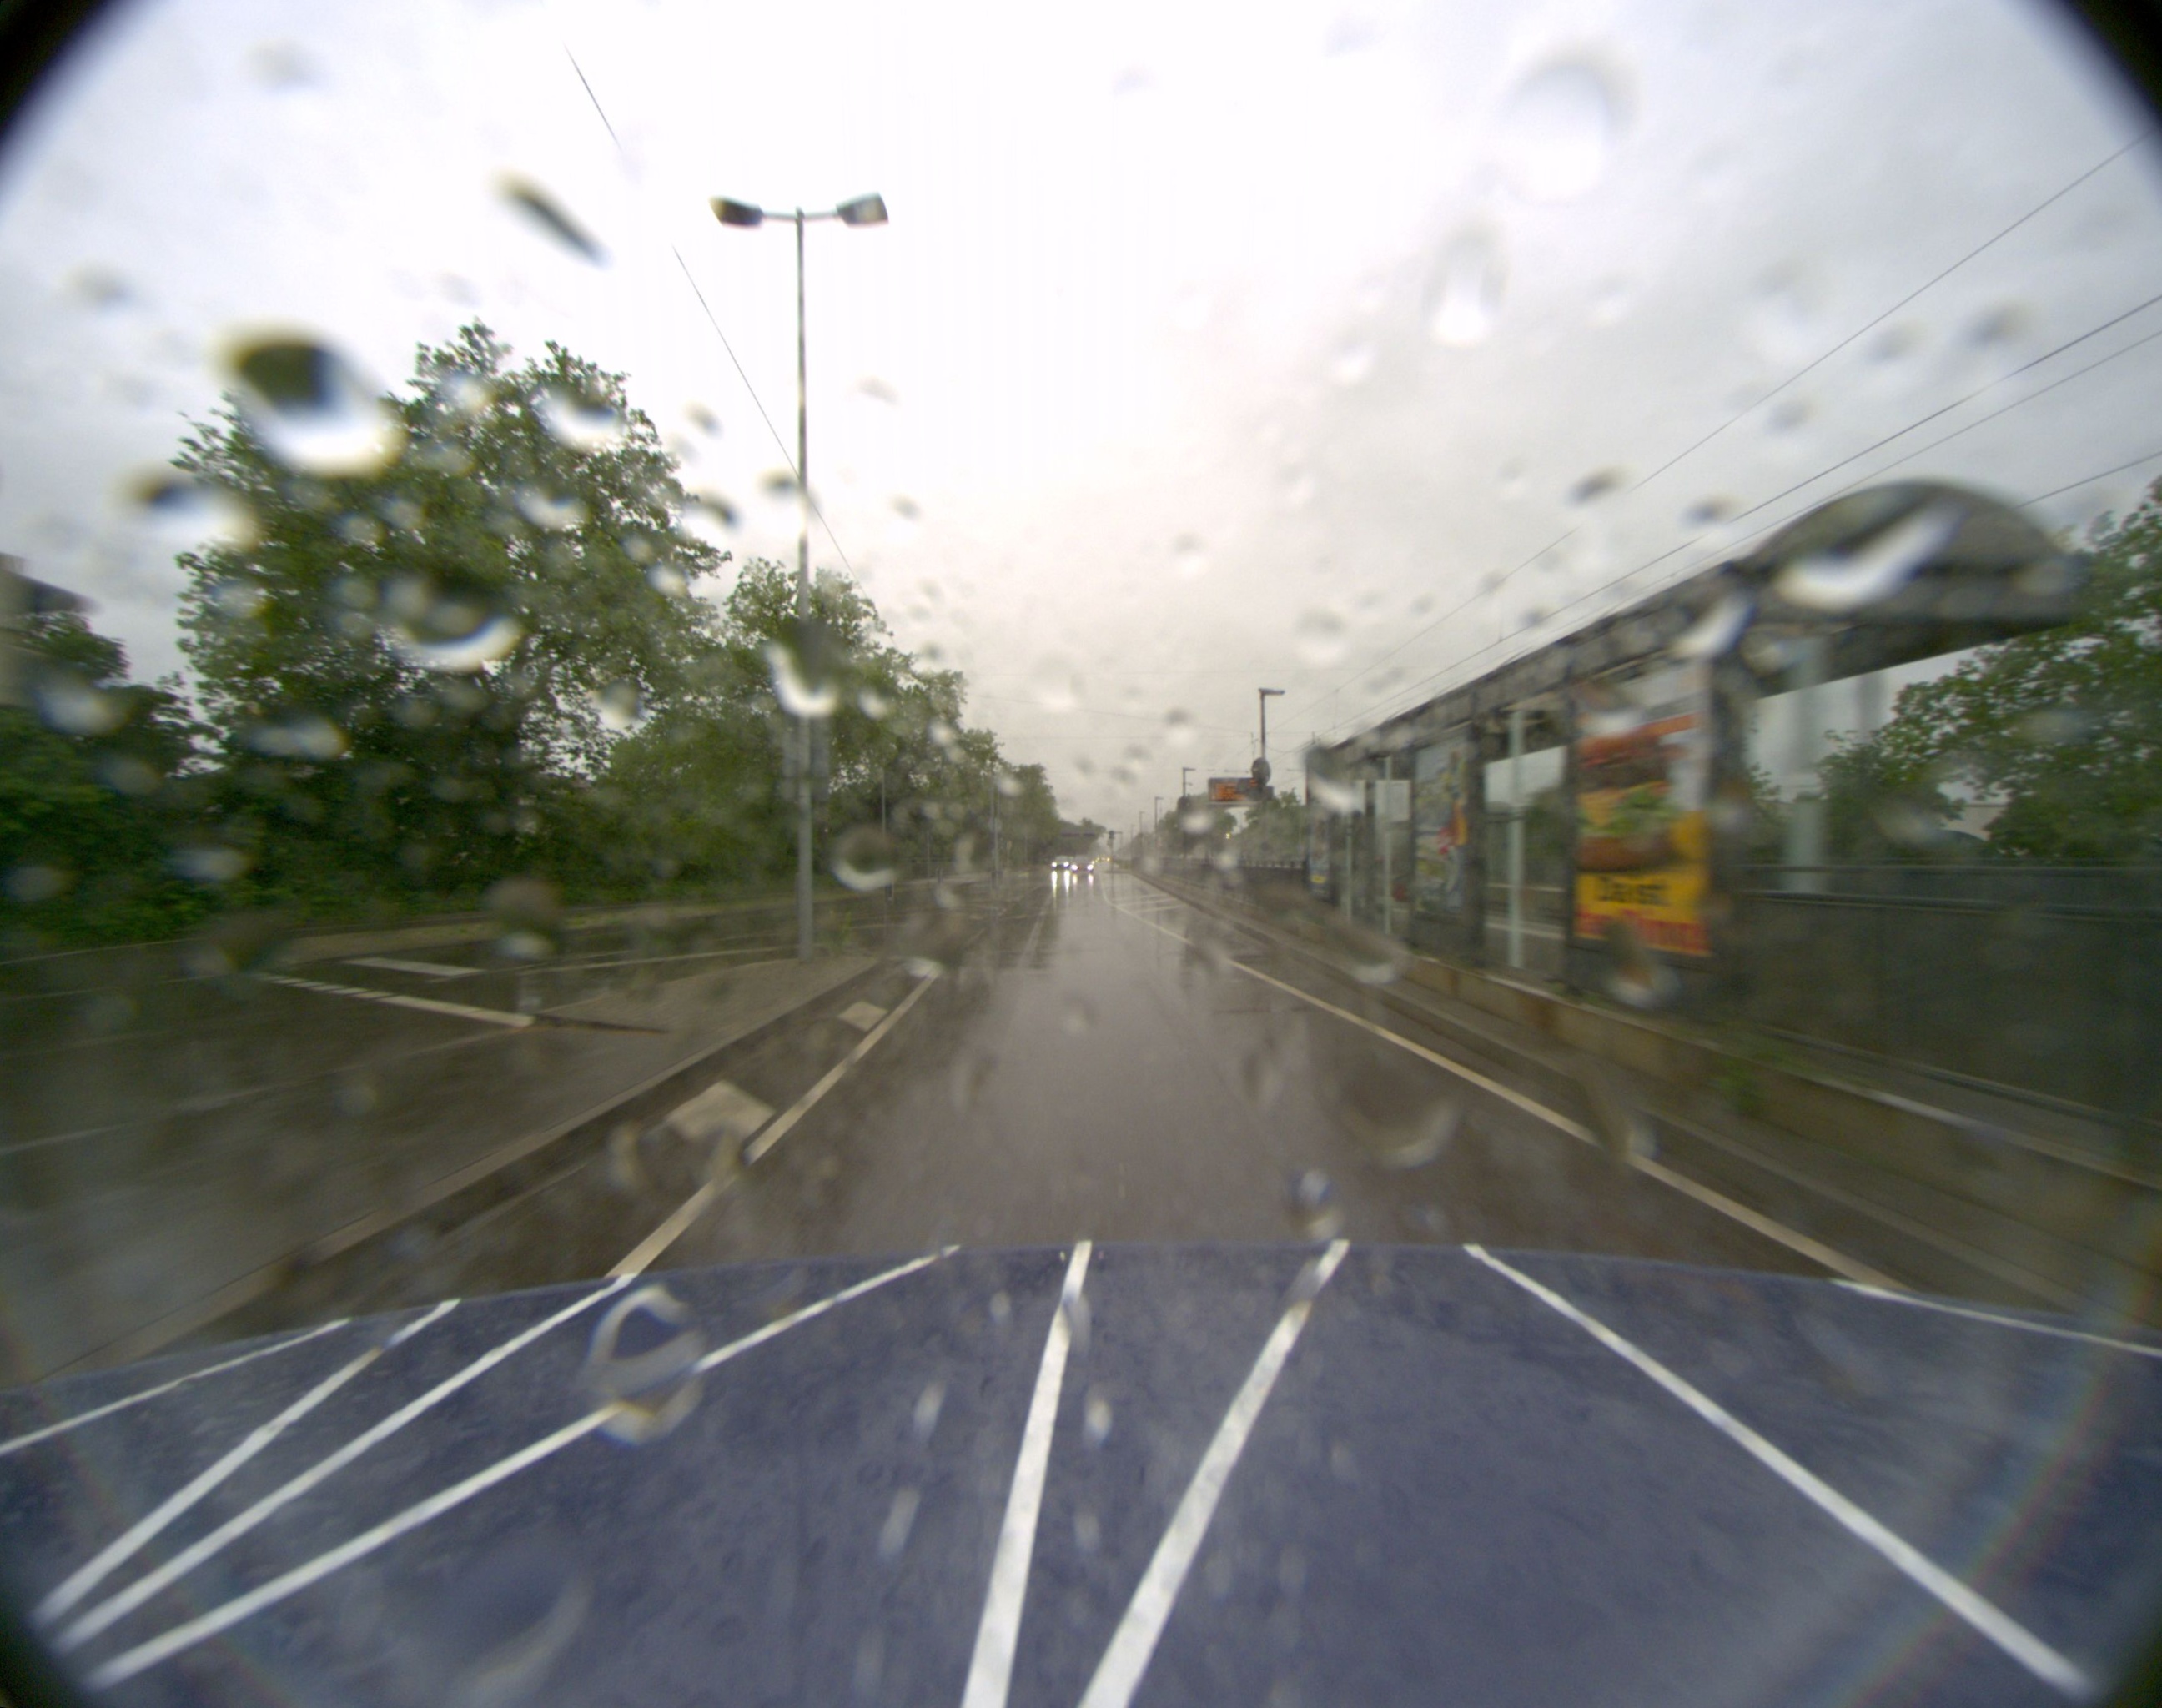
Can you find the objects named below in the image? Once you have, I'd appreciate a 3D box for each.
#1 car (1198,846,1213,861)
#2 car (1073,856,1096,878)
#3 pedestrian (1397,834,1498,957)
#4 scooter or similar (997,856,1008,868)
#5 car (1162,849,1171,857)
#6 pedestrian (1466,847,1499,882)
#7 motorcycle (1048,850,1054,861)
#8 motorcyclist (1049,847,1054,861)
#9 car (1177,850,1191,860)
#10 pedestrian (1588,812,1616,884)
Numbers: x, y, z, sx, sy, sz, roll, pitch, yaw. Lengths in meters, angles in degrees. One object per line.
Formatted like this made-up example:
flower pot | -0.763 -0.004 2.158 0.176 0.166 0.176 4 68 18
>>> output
car | 24.092 -0.116 147.477 2.125 2.697 5.738 -1 0 2
car | 0.352 1.182 70.656 1.998 2.002 4.000 -1 0 2
pedestrian | 4.167 0.456 8.682 0.816 1.332 0.659 -1 1 1
scooter or similar | -8.229 0.846 79.728 0.761 1.285 1.647 -1 1 4
car | 21.177 -0.267 188.572 1.998 1.761 4.258 -1 0 2
pedestrian | 15.779 0.412 29.872 0.833 1.308 0.858 -2 0 1
motorcycle | -5.018 0.256 128.392 0.845 1.710 2.586 -1 0 2
motorcyclist | -5.011 -0.014 128.338 0.762 2.246 0.916 -1 1 1
car | 20.069 0.160 148.159 1.998 2.002 4.753 -1 0 1
pedestrian | 30.000 -0.345 43.761 1.169 4.006 1.522 0 1 29
